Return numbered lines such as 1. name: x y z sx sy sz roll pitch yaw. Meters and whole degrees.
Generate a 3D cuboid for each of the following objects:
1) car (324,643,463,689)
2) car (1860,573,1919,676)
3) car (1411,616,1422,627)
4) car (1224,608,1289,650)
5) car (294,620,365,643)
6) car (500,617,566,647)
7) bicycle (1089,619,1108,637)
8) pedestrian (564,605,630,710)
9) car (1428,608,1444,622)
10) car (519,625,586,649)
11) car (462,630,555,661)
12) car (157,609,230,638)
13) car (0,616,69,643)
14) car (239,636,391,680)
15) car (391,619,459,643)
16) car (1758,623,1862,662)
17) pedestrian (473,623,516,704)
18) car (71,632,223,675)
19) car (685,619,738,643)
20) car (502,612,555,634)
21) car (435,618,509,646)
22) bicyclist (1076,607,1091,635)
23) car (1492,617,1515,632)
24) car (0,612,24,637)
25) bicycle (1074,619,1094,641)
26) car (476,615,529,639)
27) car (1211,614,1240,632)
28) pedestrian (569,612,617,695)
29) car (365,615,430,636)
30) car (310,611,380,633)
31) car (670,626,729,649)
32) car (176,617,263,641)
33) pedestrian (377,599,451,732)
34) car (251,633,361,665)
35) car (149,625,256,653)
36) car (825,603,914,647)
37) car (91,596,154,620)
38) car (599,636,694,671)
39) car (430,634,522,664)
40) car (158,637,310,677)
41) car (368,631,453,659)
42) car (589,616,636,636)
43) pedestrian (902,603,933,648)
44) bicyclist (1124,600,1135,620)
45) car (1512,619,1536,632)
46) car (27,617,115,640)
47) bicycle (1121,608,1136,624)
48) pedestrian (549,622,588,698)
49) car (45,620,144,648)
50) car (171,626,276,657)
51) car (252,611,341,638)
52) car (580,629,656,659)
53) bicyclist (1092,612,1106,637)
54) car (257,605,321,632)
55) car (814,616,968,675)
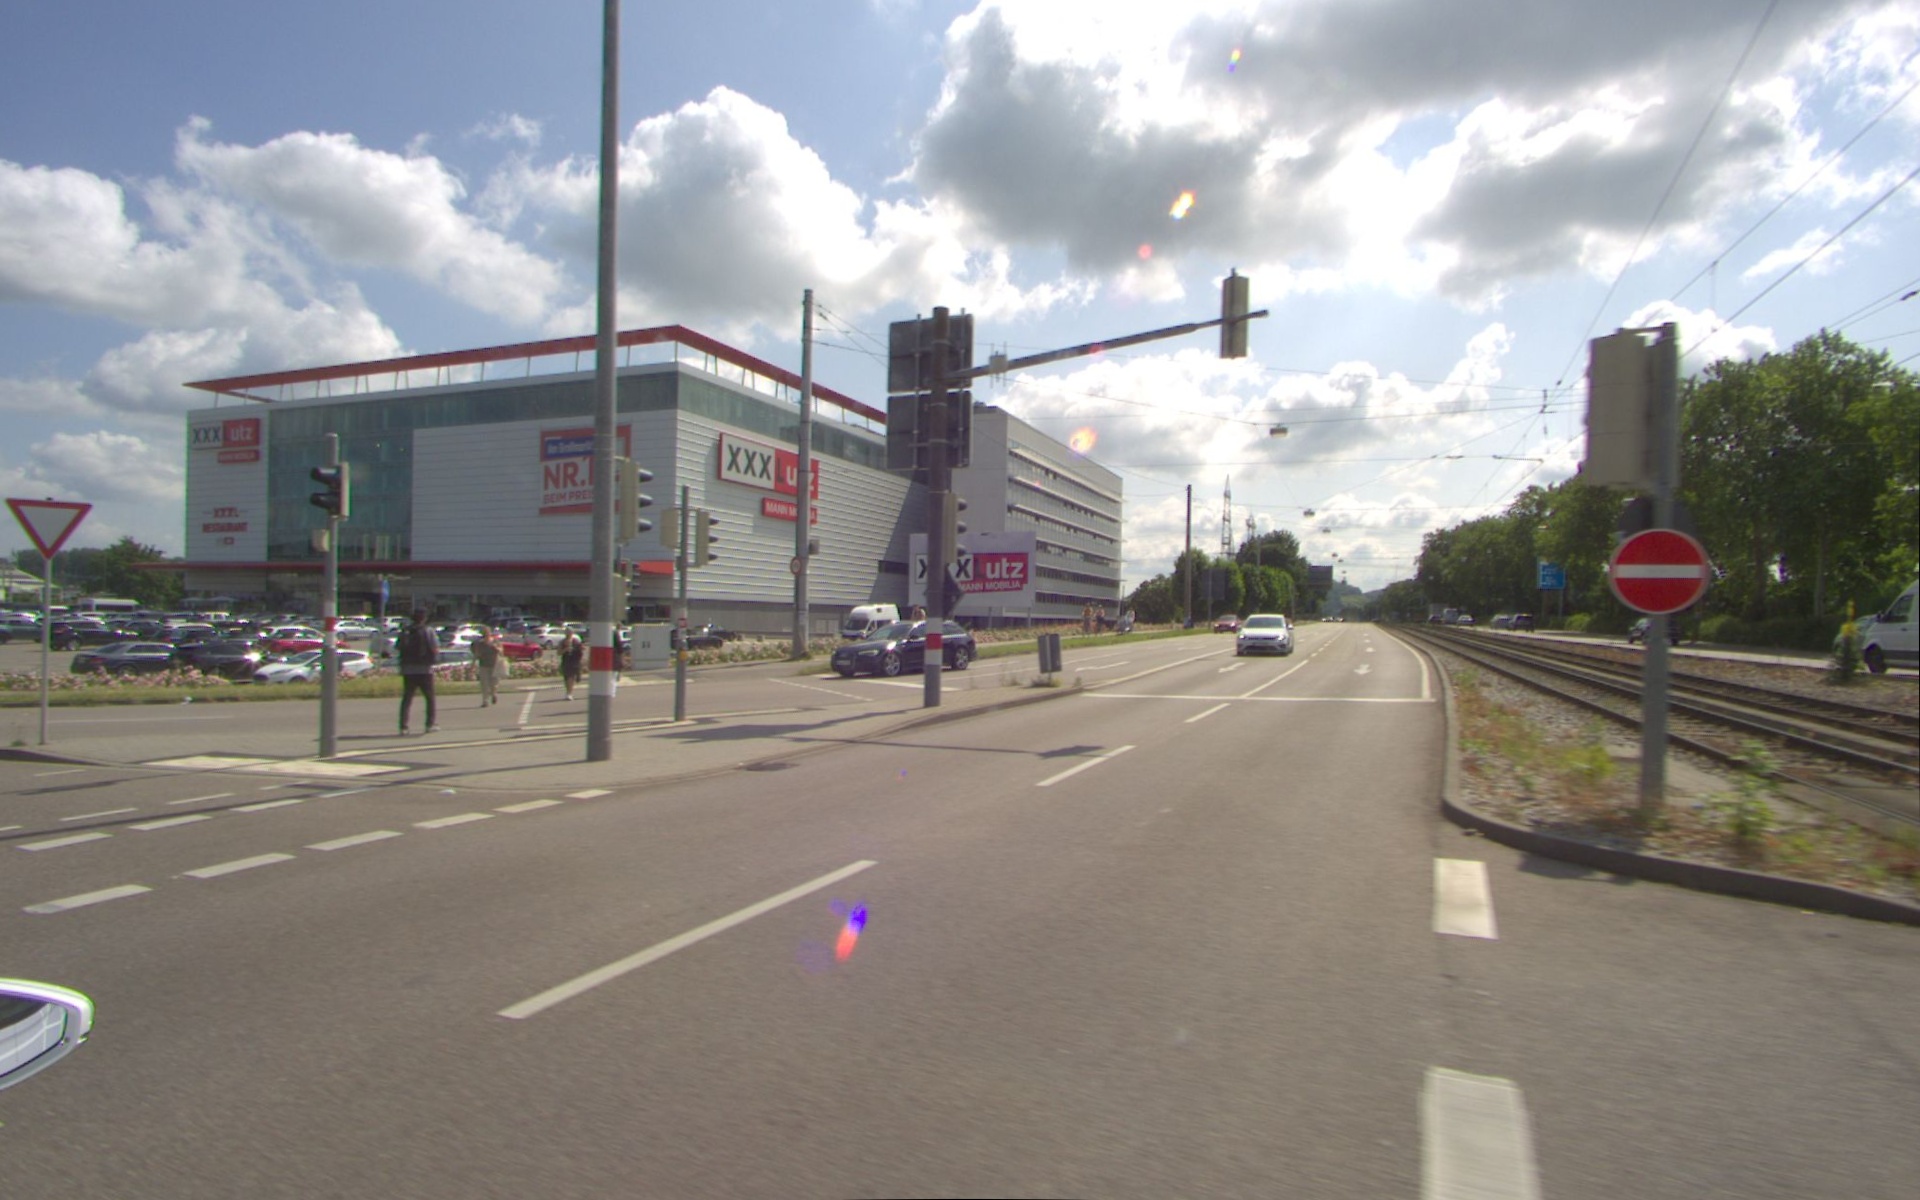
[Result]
1. car: -19.272 2.198 34.249 1.686 1.436 3.992 0 -2 22
2. car: 24.490 0.631 24.009 1.924 2.525 5.582 2 1 15
3. car: 104.413 4.837 228.980 2.112 2.225 5.466 1 1 22
4. car: 10.778 1.028 36.205 1.979 1.431 4.489 0 -1 20
5. car: -46.680 2.311 74.245 1.821 1.608 4.229 1 0 21
6. car: -30.159 2.282 70.810 1.967 2.039 3.990 0 -2 24
7. bicycle: 8.332 1.681 60.193 0.655 0.973 1.690 -5 1 24
8. pedestrian: -6.462 0.998 17.836 0.853 1.789 0.859 -1 1 -39
9. car: 85.000 2.712 178.799 2.111 2.389 5.473 1 -1 20
10. car: -26.622 2.443 65.541 1.641 1.470 3.991 1 -2 24
11. car: -23.971 2.399 53.341 1.816 1.446 4.359 2 0 25
12. car: -58.558 1.816 76.570 1.966 2.039 3.991 1 -2 24
13. car: -59.479 1.848 63.477 1.734 1.573 4.186 1 0 22
14. car: -23.174 2.061 36.167 1.766 1.458 4.362 0 -2 24
15. car: -37.534 2.175 70.355 1.666 1.608 4.020 2 -1 22
16. car: 38.510 1.944 45.497 1.963 1.638 3.999 1 -2 14
17. pedestrian: -9.036 1.221 19.460 0.462 1.543 0.554 1 -1 32
18. car: -32.256 2.081 39.891 1.826 1.496 4.359 0 -1 25
19. car: -19.789 2.481 79.884 1.967 1.761 3.989 1 -2 25
20. car: -37.678 2.044 87.532 1.966 1.745 3.993 1 -2 22
21. car: -32.136 2.117 66.043 1.968 1.761 3.988 -1 -2 25
22. bicyclist: 7.071 1.209 57.160 0.611 1.555 0.695 1 -1 28
23. car: 57.516 2.602 105.932 1.610 1.382 3.737 1 -2 21
24. car: -63.654 1.588 64.623 1.995 1.595 4.362 1 0 22
25. bicycle: 7.062 1.717 57.173 0.611 1.180 1.500 1 -2 28
26. car: -40.385 2.426 88.501 1.966 2.039 3.993 1 -2 22
27. car: 21.059 1.874 79.244 1.719 1.377 4.240 -1 -2 22
28. pedestrian: -7.927 1.148 21.624 0.691 1.750 0.685 -1 -1 35
29. car: -44.306 2.050 78.997 1.677 1.530 4.345 1 -2 23
30. car: -44.601 1.575 72.735 1.676 1.531 4.159 1 -1 20
31. car: -17.543 2.545 67.529 1.886 1.459 3.994 1 -3 21
32. car: -48.159 1.877 65.222 1.729 1.446 4.293 2 -1 23
33. pedestrian: -7.817 0.915 14.333 0.813 1.826 0.753 1 0 -40
34. car: -33.081 2.441 50.797 1.816 1.380 4.359 2 0 25
35. car: -41.775 2.137 55.332 1.816 1.380 4.359 2 0 25
36. car: -6.750 1.923 76.060 3.072 3.194 7.880 -1 -2 26
37. car: -77.013 0.736 92.156 1.966 1.976 3.991 1 -2 23
38. car: -15.265 2.575 48.953 2.015 1.427 4.358 1 0 25
39. car: -26.264 2.623 54.510 1.816 1.380 4.359 2 0 25
40. car: -27.565 2.138 38.199 1.826 1.434 4.362 0 -2 24
41. car: -30.497 2.467 55.700 1.576 1.380 4.025 2 0 25
42. car: -28.918 2.187 83.351 1.652 1.542 3.644 1 -2 24
43. pedestrian: -1.565 0.931 36.672 0.695 1.612 0.941 0 -1 35
44. bicyclist: 11.243 0.665 66.563 0.582 1.342 0.686 1 -1 20
45. car: 53.629 2.425 95.192 1.401 1.154 3.391 1 -2 20
46. car: -61.965 2.003 69.853 1.730 1.482 4.245 1 -2 22
47. bicycle: 11.191 1.090 66.467 0.586 0.973 1.984 1 -2 21
48. pedestrian: -8.147 1.237 20.840 0.462 1.544 0.582 0 0 32
49. car: -50.293 1.941 58.262 1.711 1.551 4.059 0 0 20
50. car: -39.680 2.215 54.078 1.600 1.461 4.359 2 0 25
51. car: -39.895 1.495 60.296 1.795 1.527 4.153 1 -2 24
52. car: -19.379 2.478 56.866 1.821 1.608 4.231 1 -1 20
53. bicyclist: 8.342 1.459 60.121 0.640 1.494 0.741 1 -1 24
54. car: -56.370 1.572 84.137 1.966 2.039 3.991 1 -2 23
55. car: -1.830 1.200 27.667 1.894 1.502 4.168 0 -1 41
